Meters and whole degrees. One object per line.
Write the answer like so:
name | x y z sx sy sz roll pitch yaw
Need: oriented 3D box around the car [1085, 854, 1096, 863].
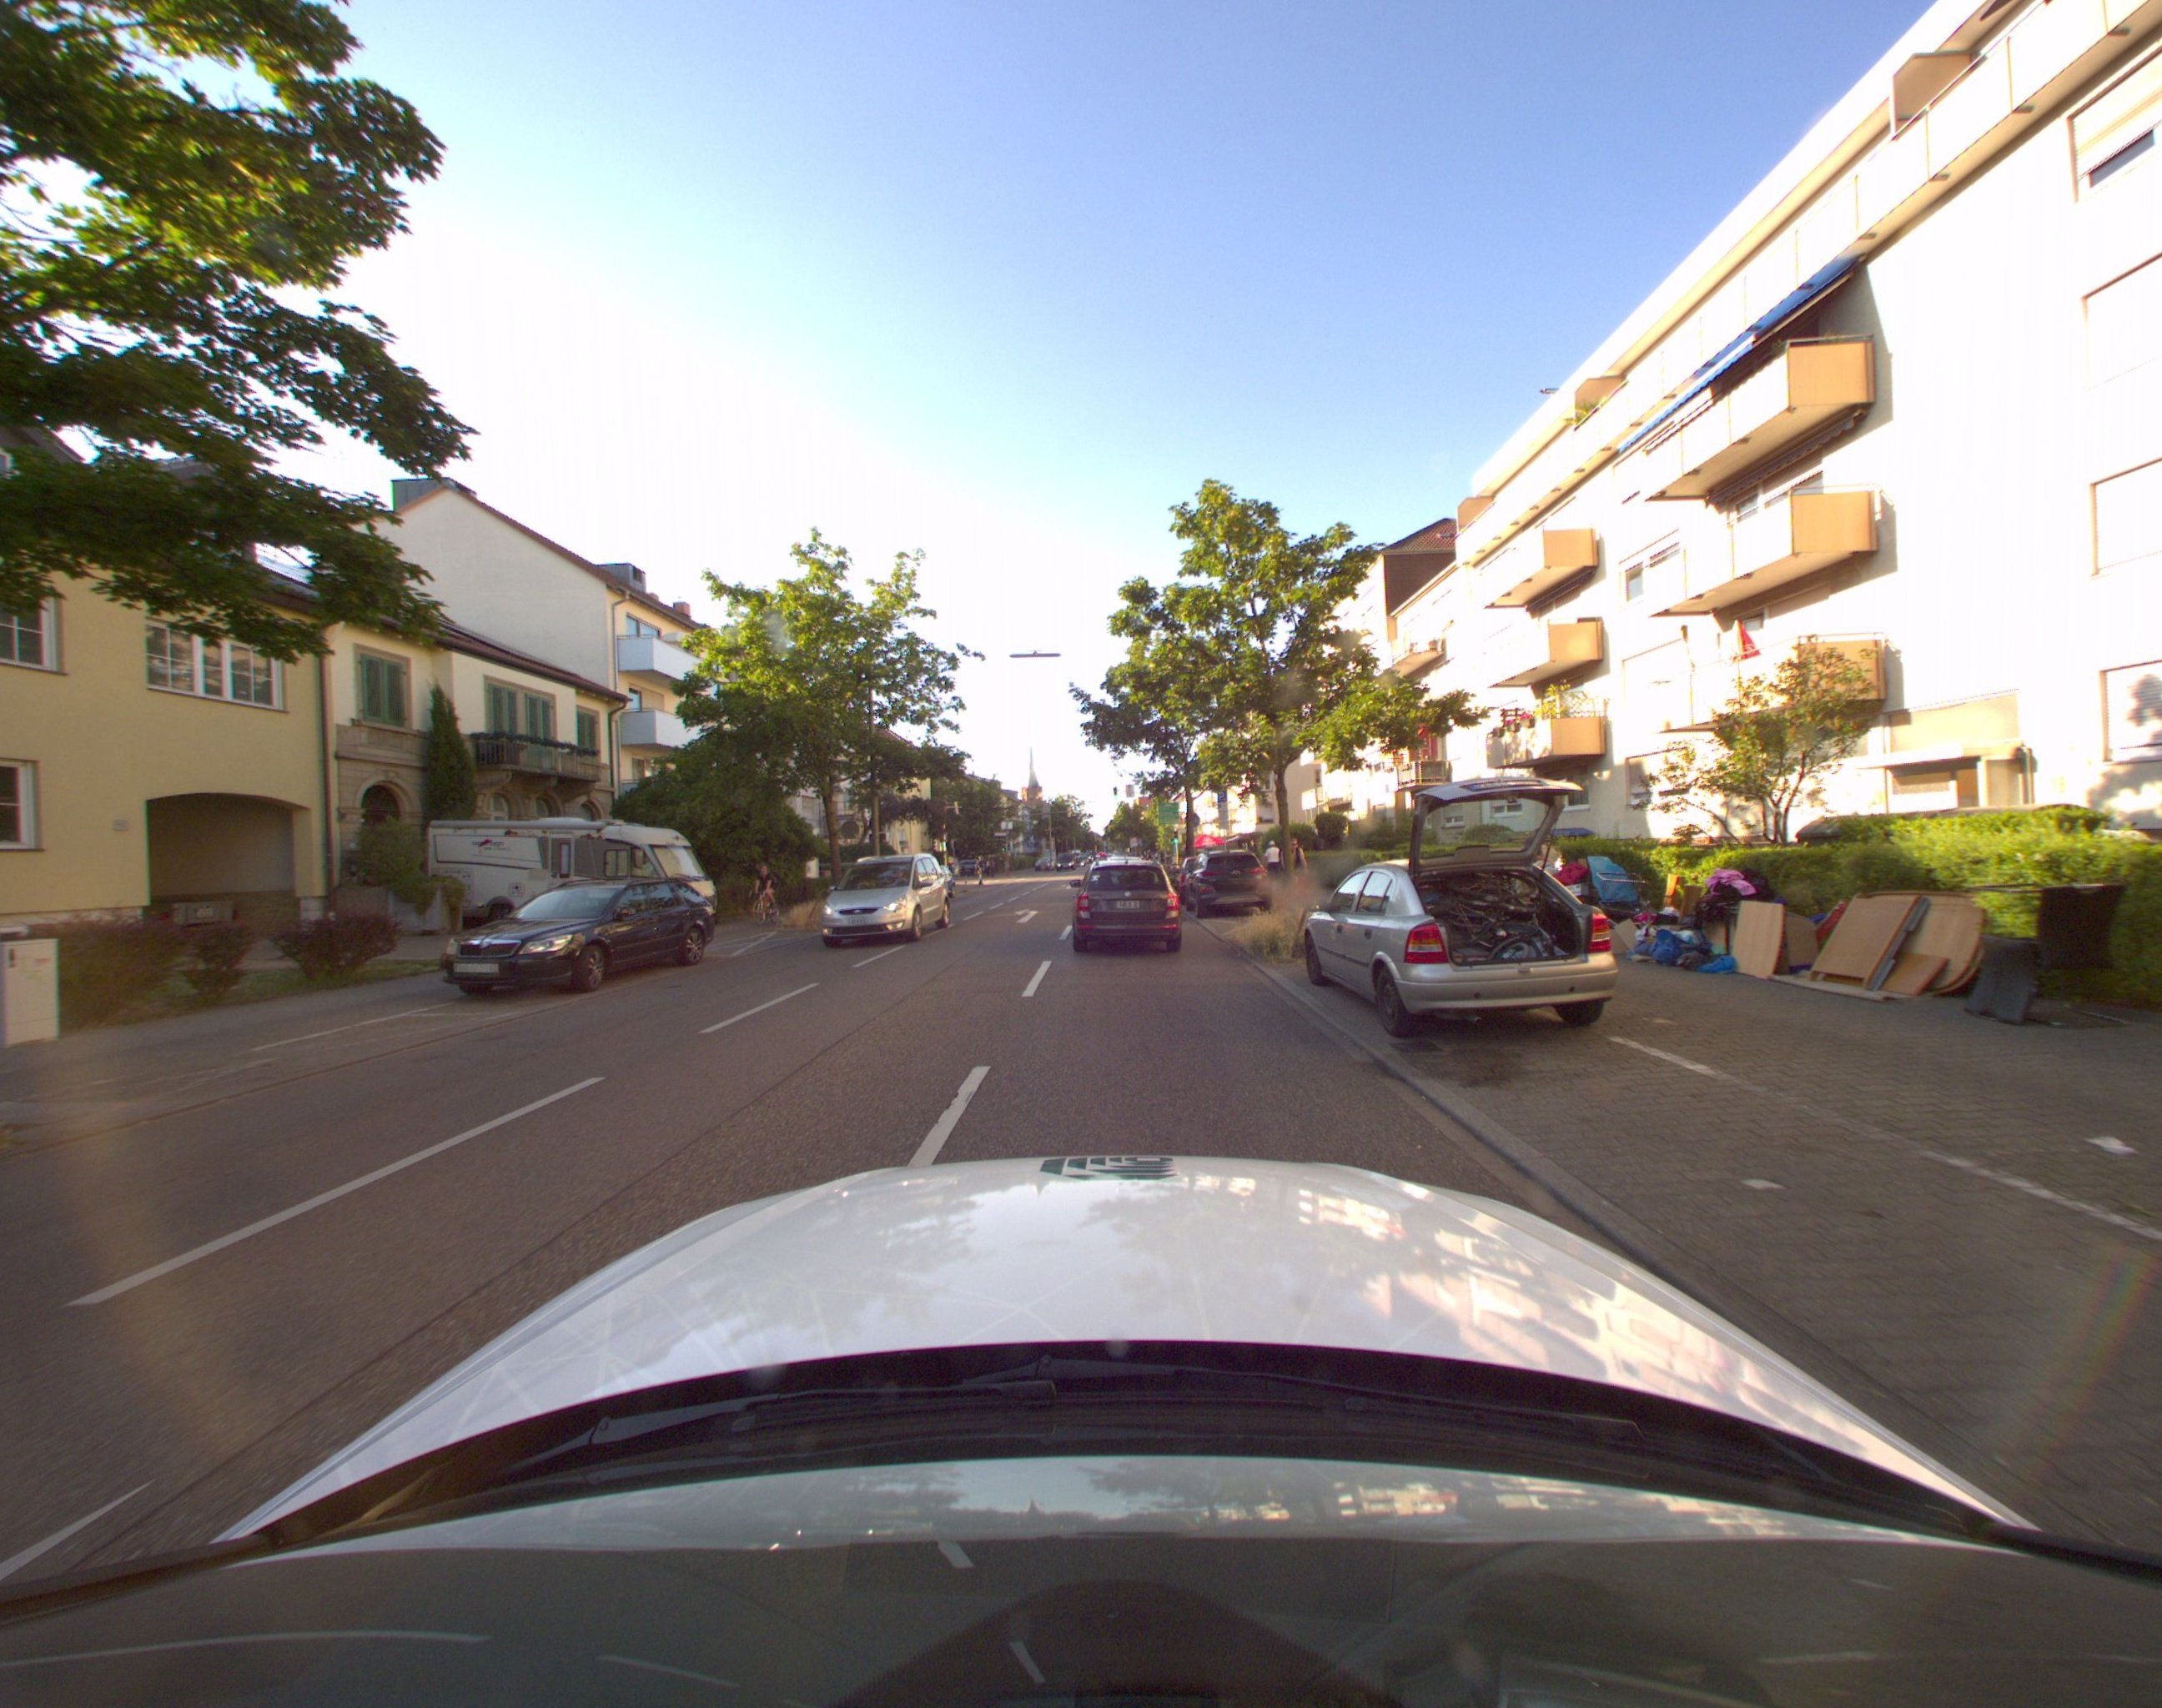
car | 1.675 0.717 145.357 1.780 1.571 4.003 0 0 3

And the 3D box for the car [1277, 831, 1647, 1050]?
car | 3.299 0.633 8.094 1.702 1.480 4.270 -4 0 2

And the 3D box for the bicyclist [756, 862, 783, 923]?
bicyclist | -8.614 1.052 22.526 0.467 1.663 0.552 -2 0 1

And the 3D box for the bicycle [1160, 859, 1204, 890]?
bicycle | 4.067 0.810 32.742 1.677 1.107 0.518 -5 -1 8

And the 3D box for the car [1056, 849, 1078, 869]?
car | -1.449 0.521 86.200 1.986 1.908 4.966 -4 0 2

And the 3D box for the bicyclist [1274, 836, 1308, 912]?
bicyclist | 5.105 0.472 19.855 0.579 1.789 0.852 -2 0 2

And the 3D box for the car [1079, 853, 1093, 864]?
car | 0.840 0.704 133.154 1.985 1.610 4.003 -2 0 3

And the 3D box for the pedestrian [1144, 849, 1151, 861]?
pedestrian | 9.614 0.106 117.271 0.668 1.704 0.806 -2 0 28

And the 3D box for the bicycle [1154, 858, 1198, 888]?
bicycle | 4.172 0.810 35.701 1.824 1.157 0.685 -5 -1 8

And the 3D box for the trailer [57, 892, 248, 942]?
trailer | -20.600 1.372 18.147 2.395 0.960 1.628 0 0 2

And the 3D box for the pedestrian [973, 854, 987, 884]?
pedestrian | -6.782 1.004 54.737 0.777 1.987 0.821 -2 0 2

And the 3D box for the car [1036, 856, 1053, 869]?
car | -4.092 0.933 91.488 1.516 1.457 3.587 -2 0 2

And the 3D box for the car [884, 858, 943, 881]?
car | -14.339 1.324 69.814 4.617 1.811 1.862 -2 0 1

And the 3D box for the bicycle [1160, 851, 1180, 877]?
bicycle | 4.144 0.466 37.891 0.501 1.147 1.956 -4 -1 -4

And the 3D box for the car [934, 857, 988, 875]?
car | -11.089 1.142 75.621 4.617 1.535 1.862 -1 0 1

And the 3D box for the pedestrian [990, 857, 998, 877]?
pedestrian | -7.732 1.158 72.389 0.613 1.797 0.504 -2 0 2

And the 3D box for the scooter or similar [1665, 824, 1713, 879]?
scooter or similar | 14.725 -0.057 19.735 0.612 1.272 0.669 -2 0 2

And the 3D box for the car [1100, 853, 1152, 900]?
car | 1.599 0.742 29.068 1.729 1.571 4.003 0 0 3

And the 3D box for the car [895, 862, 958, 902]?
car | -6.319 1.117 33.748 1.642 1.517 4.076 -1 0 2

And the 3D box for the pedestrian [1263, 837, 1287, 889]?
pedestrian | 6.836 0.311 28.746 0.659 1.749 0.774 -4 -1 8

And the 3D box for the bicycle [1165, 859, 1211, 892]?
bicycle | 3.856 0.772 29.378 1.564 1.104 0.392 -2 0 2

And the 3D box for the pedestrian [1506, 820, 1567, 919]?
pedestrian | 7.769 0.260 13.881 0.748 1.640 0.700 -3 0 38

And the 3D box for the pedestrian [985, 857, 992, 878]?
pedestrian | -8.274 1.205 72.812 0.447 1.797 0.504 -2 0 2

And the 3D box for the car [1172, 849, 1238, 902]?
car | 3.862 0.627 25.942 1.696 1.450 4.018 -4 0 4

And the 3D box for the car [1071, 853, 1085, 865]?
car | -0.435 0.698 115.962 1.823 1.579 4.002 -3 0 2

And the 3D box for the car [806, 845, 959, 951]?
car | -3.936 0.799 17.074 1.799 1.804 4.747 -4 0 2

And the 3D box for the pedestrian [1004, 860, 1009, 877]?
pedestrian | -6.741 1.324 73.949 0.299 1.504 0.641 -2 0 3

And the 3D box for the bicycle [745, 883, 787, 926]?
bicycle | -8.603 1.363 22.267 0.484 1.064 1.535 -2 0 1

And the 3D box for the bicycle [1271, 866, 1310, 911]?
bicycle | 5.066 0.822 19.799 0.514 0.987 1.832 -2 0 2

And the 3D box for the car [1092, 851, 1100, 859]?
car | 3.838 0.249 211.335 1.986 2.013 4.002 -2 0 2

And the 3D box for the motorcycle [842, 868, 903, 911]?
motorcycle | -6.512 1.098 25.408 2.028 1.265 0.772 -3 0 40

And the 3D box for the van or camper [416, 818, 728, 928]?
van or camper | -13.331 0.479 21.681 6.774 2.773 2.352 0 0 0

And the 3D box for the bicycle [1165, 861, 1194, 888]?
bicycle | 4.108 0.843 33.980 0.613 1.051 1.583 -2 0 28

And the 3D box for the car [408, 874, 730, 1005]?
car | -7.305 1.112 12.325 1.860 1.494 4.520 -1 0 2

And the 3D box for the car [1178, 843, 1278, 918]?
car | 3.599 0.606 20.648 1.849 1.581 4.015 -4 0 2

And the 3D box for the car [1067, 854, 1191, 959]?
car | 0.756 0.758 13.951 1.766 1.489 4.312 -1 0 2

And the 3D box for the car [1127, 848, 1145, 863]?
car | 6.468 0.197 95.479 1.984 1.772 4.005 0 0 5
